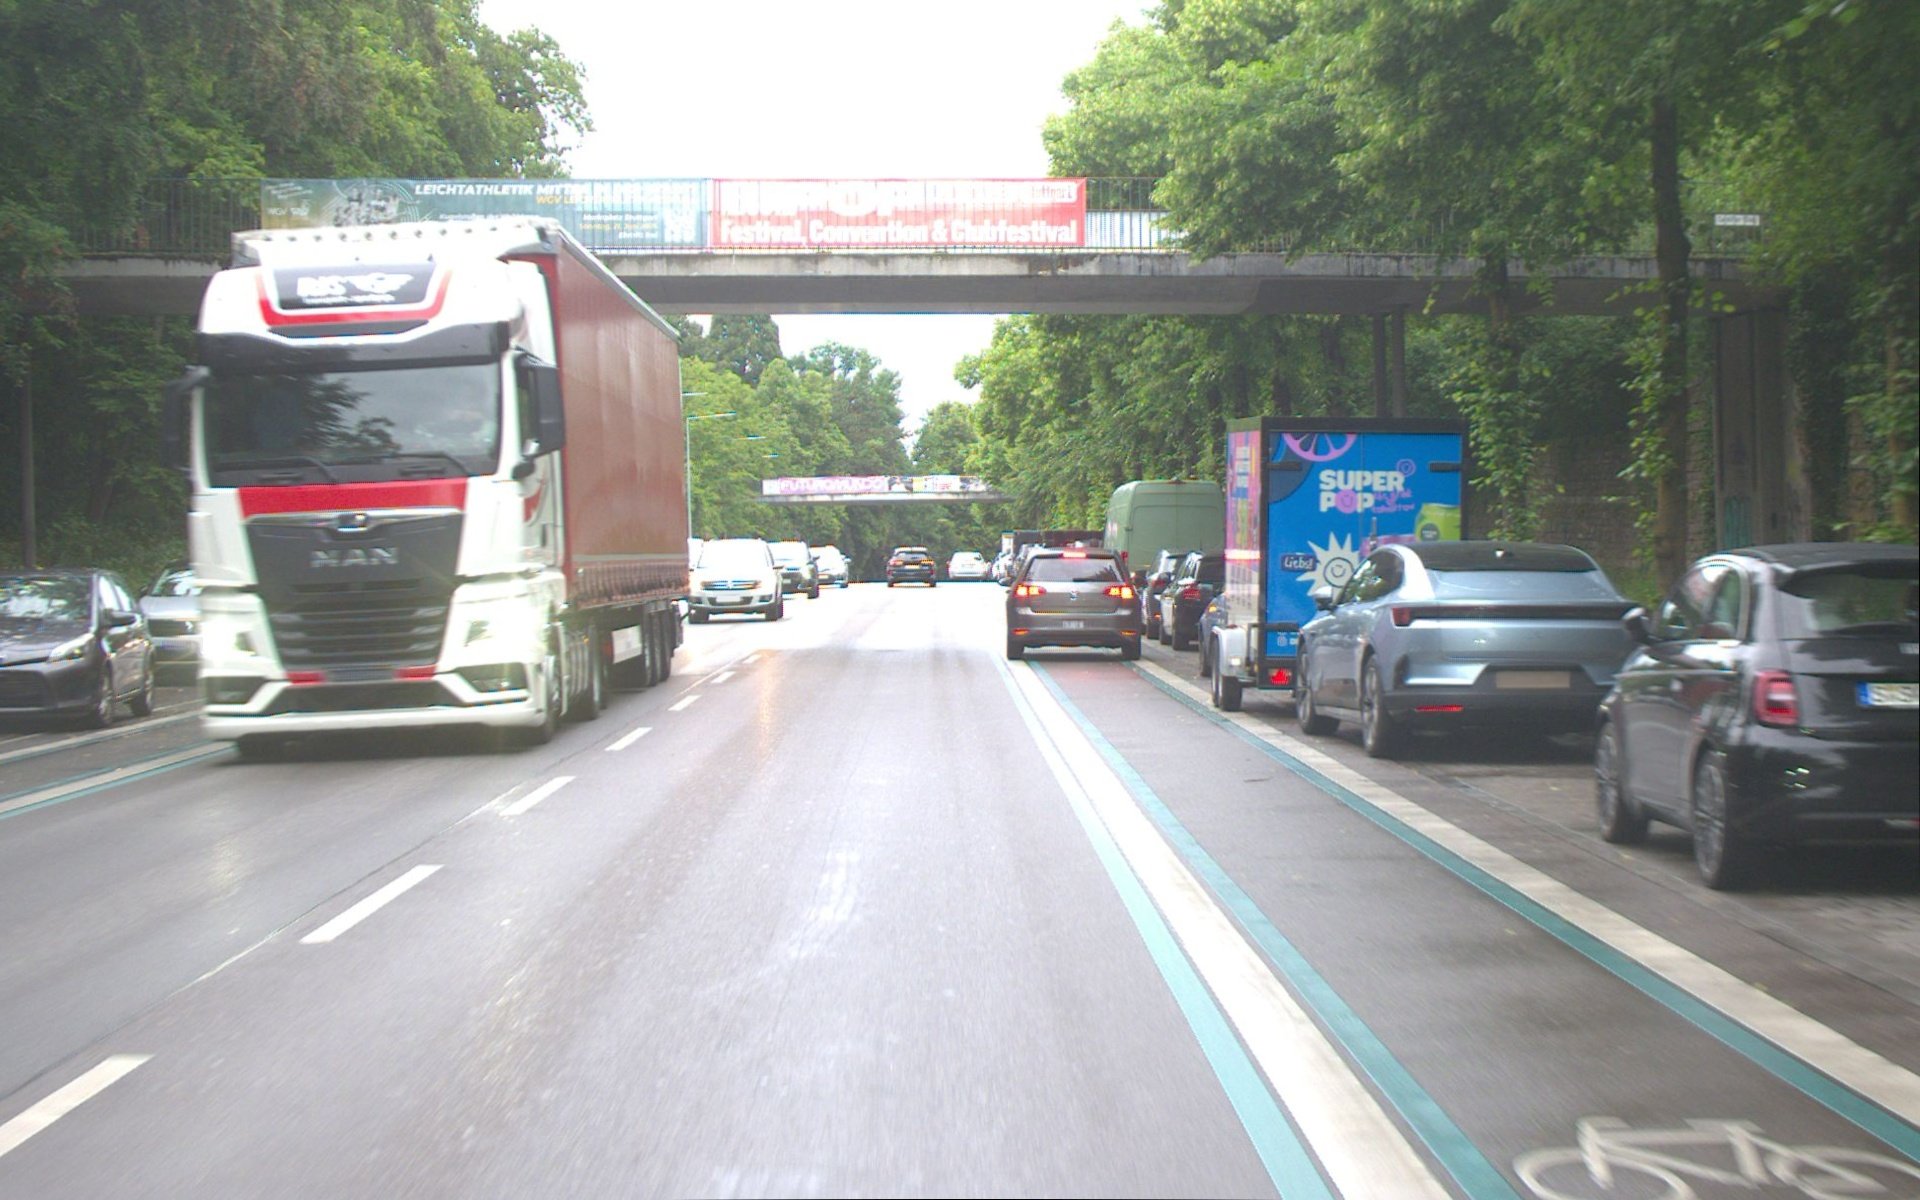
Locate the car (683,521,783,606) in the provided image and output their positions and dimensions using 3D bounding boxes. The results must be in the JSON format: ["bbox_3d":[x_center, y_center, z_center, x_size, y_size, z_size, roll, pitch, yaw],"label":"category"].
[{"bbox_3d":[-4.603,-0.764,70.141,1.834,1.661,4.181,0,1,-1],"label":"car"}]

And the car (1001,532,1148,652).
[{"bbox_3d":[1.462,-0.141,45.354,1.818,1.503,4.139,0,1,0],"label":"car"}]

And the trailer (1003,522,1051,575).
[{"bbox_3d":[2.816,-2.181,145.150,1.884,2.158,3.808,-1,1,0],"label":"trailer"}]

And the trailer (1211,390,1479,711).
[{"bbox_3d":[3.444,-0.459,31.458,1.952,2.749,4.007,0,1,-1],"label":"trailer"}]

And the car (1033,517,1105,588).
[{"bbox_3d":[3.197,-1.418,101.979,1.926,2.015,4.664,1,1,0],"label":"car"}]

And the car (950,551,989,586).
[{"bbox_3d":[0.447,-1.506,162.394,1.731,1.578,4.037,-1,1,-1],"label":"car"}]

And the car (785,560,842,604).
[{"bbox_3d":[-5.408,-0.688,127.059,1.921,1.555,4.621,1,1,0],"label":"car"}]

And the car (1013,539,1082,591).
[{"bbox_3d":[2.691,-1.095,106.891,1.789,1.537,4.890,1,1,-2],"label":"car"}]

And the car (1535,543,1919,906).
[{"bbox_3d":[4.138,0.486,16.746,1.825,1.498,4.571,-1,1,-1],"label":"car"}]

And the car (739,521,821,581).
[{"bbox_3d":[-5.144,-1.422,98.757,1.966,1.622,4.321,-1,1,2],"label":"car"}]

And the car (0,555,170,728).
[{"bbox_3d":[-8.754,0.348,32.507,1.831,1.472,4.041,-1,2,-3],"label":"car"}]

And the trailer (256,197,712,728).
[{"bbox_3d":[-4.381,-1.253,34.721,2.687,4.244,12.770,-3,1,0],"label":"trailer"}]

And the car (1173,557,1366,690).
[{"bbox_3d":[3.391,0.227,38.274,1.584,1.348,3.863,1,1,-3],"label":"car"}]

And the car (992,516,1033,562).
[{"bbox_3d":[2.460,-2.877,161.842,1.889,2.120,4.045,-1,1,1],"label":"car"}]

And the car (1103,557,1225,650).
[{"bbox_3d":[3.245,0.025,55.332,1.686,1.411,4.100,0,1,0],"label":"car"}]

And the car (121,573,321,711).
[{"bbox_3d":[-9.225,0.488,43.205,1.687,1.541,4.233,-1,2,-1],"label":"car"}]

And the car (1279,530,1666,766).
[{"bbox_3d":[3.673,0.279,25.522,1.899,1.542,4.756,1,1,-3],"label":"car"}]

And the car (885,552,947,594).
[{"bbox_3d":[-1.628,-1.012,126.237,2.140,1.487,4.499,0,1,-2],"label":"car"}]

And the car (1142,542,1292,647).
[{"bbox_3d":[3.667,-0.113,49.628,1.686,1.411,4.198,-1,1,-2],"label":"car"}]

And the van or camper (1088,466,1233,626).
[{"bbox_3d":[3.569,-0.999,62.462,2.042,2.720,6.901,1,1,-1],"label":"van or camper"}]

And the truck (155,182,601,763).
[{"bbox_3d":[-4.411,-0.952,27.003,2.517,4.032,4.917,-3,1,0],"label":"truck"}]
